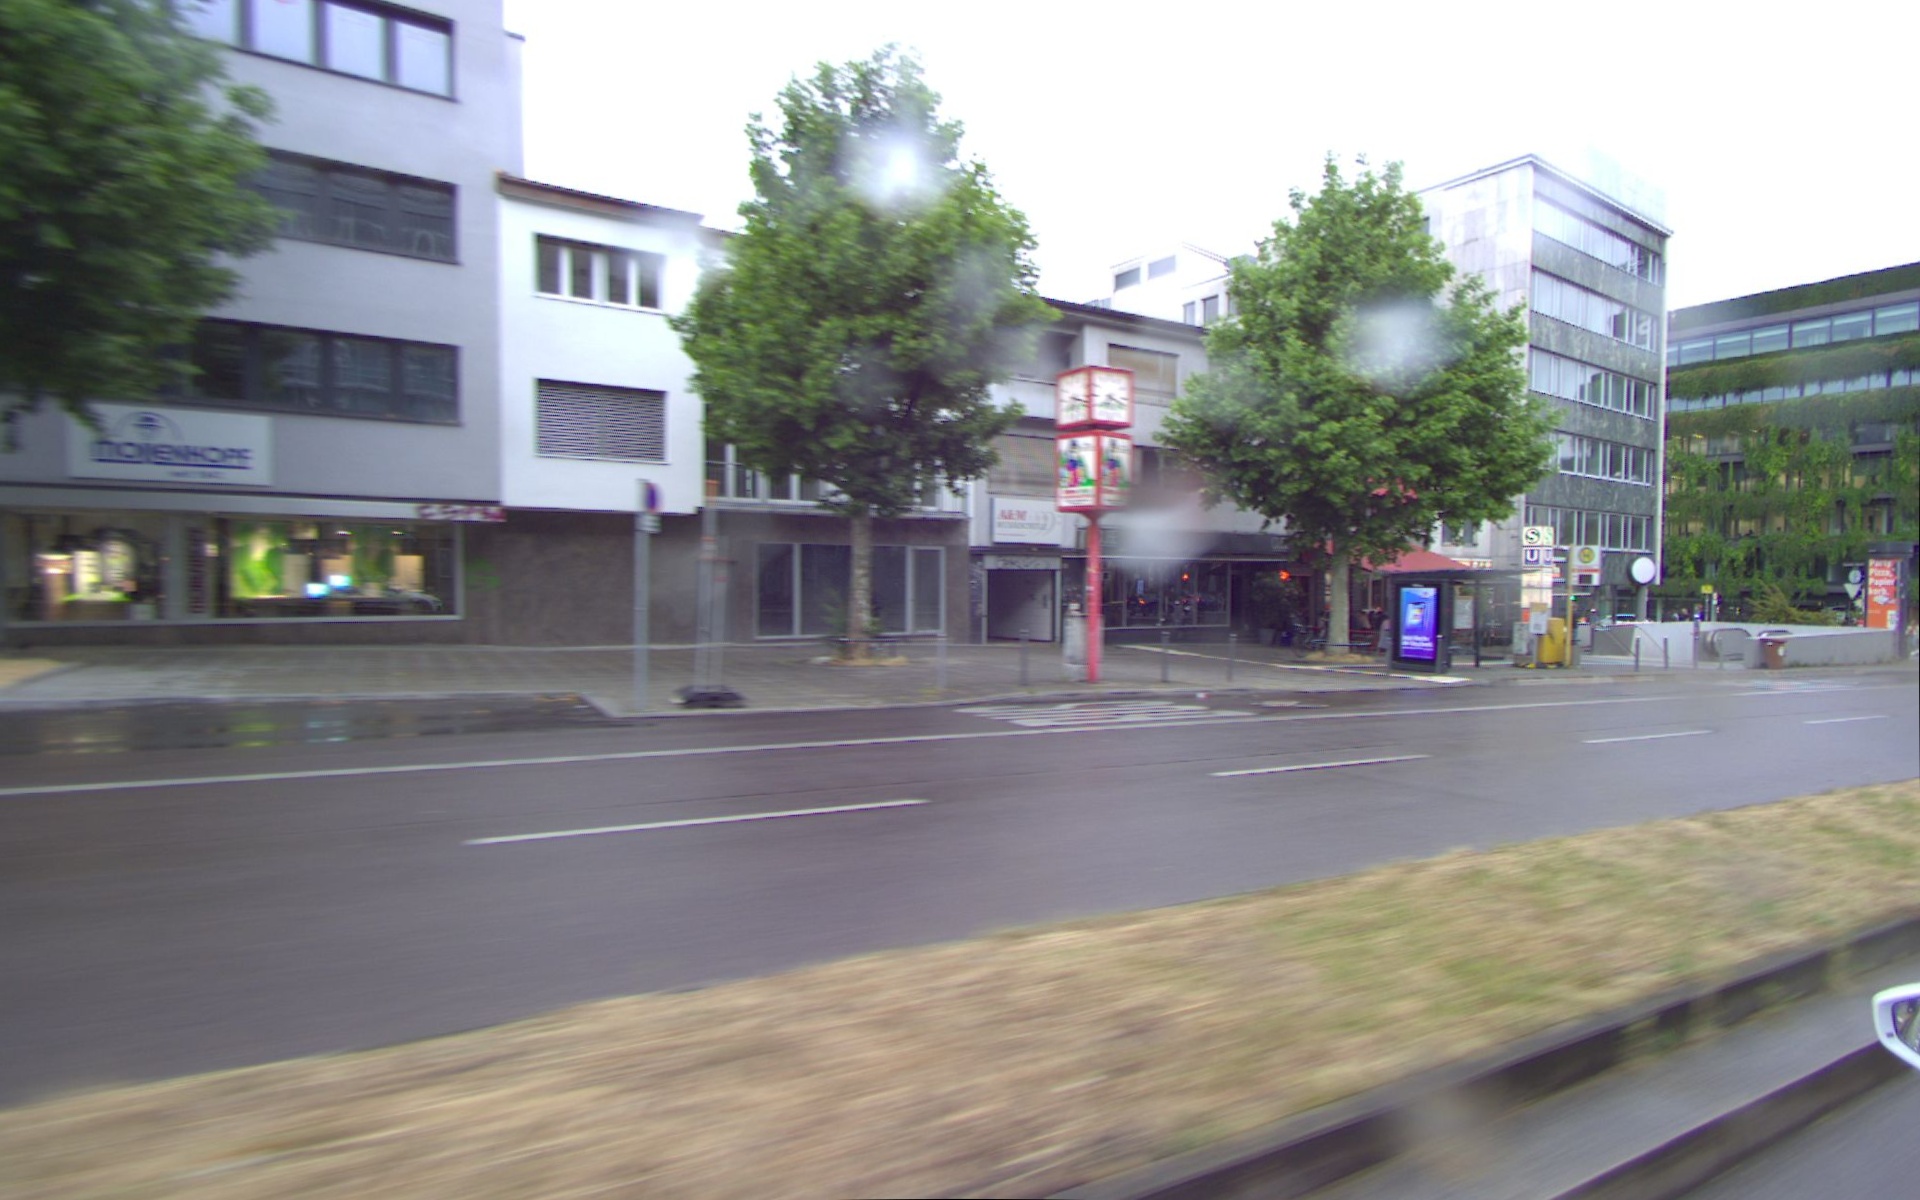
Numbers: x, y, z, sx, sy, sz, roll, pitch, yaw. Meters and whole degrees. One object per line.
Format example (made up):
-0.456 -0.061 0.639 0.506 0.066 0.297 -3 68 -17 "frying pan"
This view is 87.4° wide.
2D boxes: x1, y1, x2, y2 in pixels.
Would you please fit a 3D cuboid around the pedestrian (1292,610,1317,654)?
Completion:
12.418 1.150 36.205 0.600 1.591 0.591 1 0 -39 "pedestrian"

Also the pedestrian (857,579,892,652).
-2.123 0.385 24.877 0.644 1.786 0.693 1 0 -27 "pedestrian"

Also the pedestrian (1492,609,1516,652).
24.579 1.390 45.367 0.586 1.910 0.750 1 1 -36 "pedestrian"

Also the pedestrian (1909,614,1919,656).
43.786 1.575 45.588 0.858 1.909 0.800 1 -4 -36 "pedestrian"

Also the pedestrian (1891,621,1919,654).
47.318 1.888 50.238 0.912 1.606 0.828 1 -4 -30 "pedestrian"

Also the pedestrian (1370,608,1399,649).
15.644 1.041 37.034 0.685 1.470 0.721 1 1 -36 "pedestrian"

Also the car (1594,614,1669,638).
45.083 1.730 67.492 1.858 1.543 3.856 1 0 -42 "car"

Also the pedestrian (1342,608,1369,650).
14.233 1.043 36.139 0.541 1.470 0.685 1 1 -34 "pedestrian"

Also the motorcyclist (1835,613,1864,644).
50.407 1.591 56.948 1.173 1.725 0.843 1 0 45 "motorcyclist"

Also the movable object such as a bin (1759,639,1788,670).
24.510 1.625 30.263 0.676 0.909 0.527 1 -1 -39 "movable object such as a bin"

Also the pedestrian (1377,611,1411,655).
14.866 1.117 34.398 0.905 1.470 0.685 1 0 -34 "pedestrian"

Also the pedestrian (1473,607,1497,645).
20.821 1.017 39.828 0.582 1.470 0.598 1 1 -35 "pedestrian"

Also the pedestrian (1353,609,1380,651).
14.769 1.079 36.477 0.577 1.470 0.685 1 1 -32 "pedestrian"

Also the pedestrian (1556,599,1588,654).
21.690 0.926 35.609 0.750 1.910 0.685 1 1 -34 "pedestrian"
